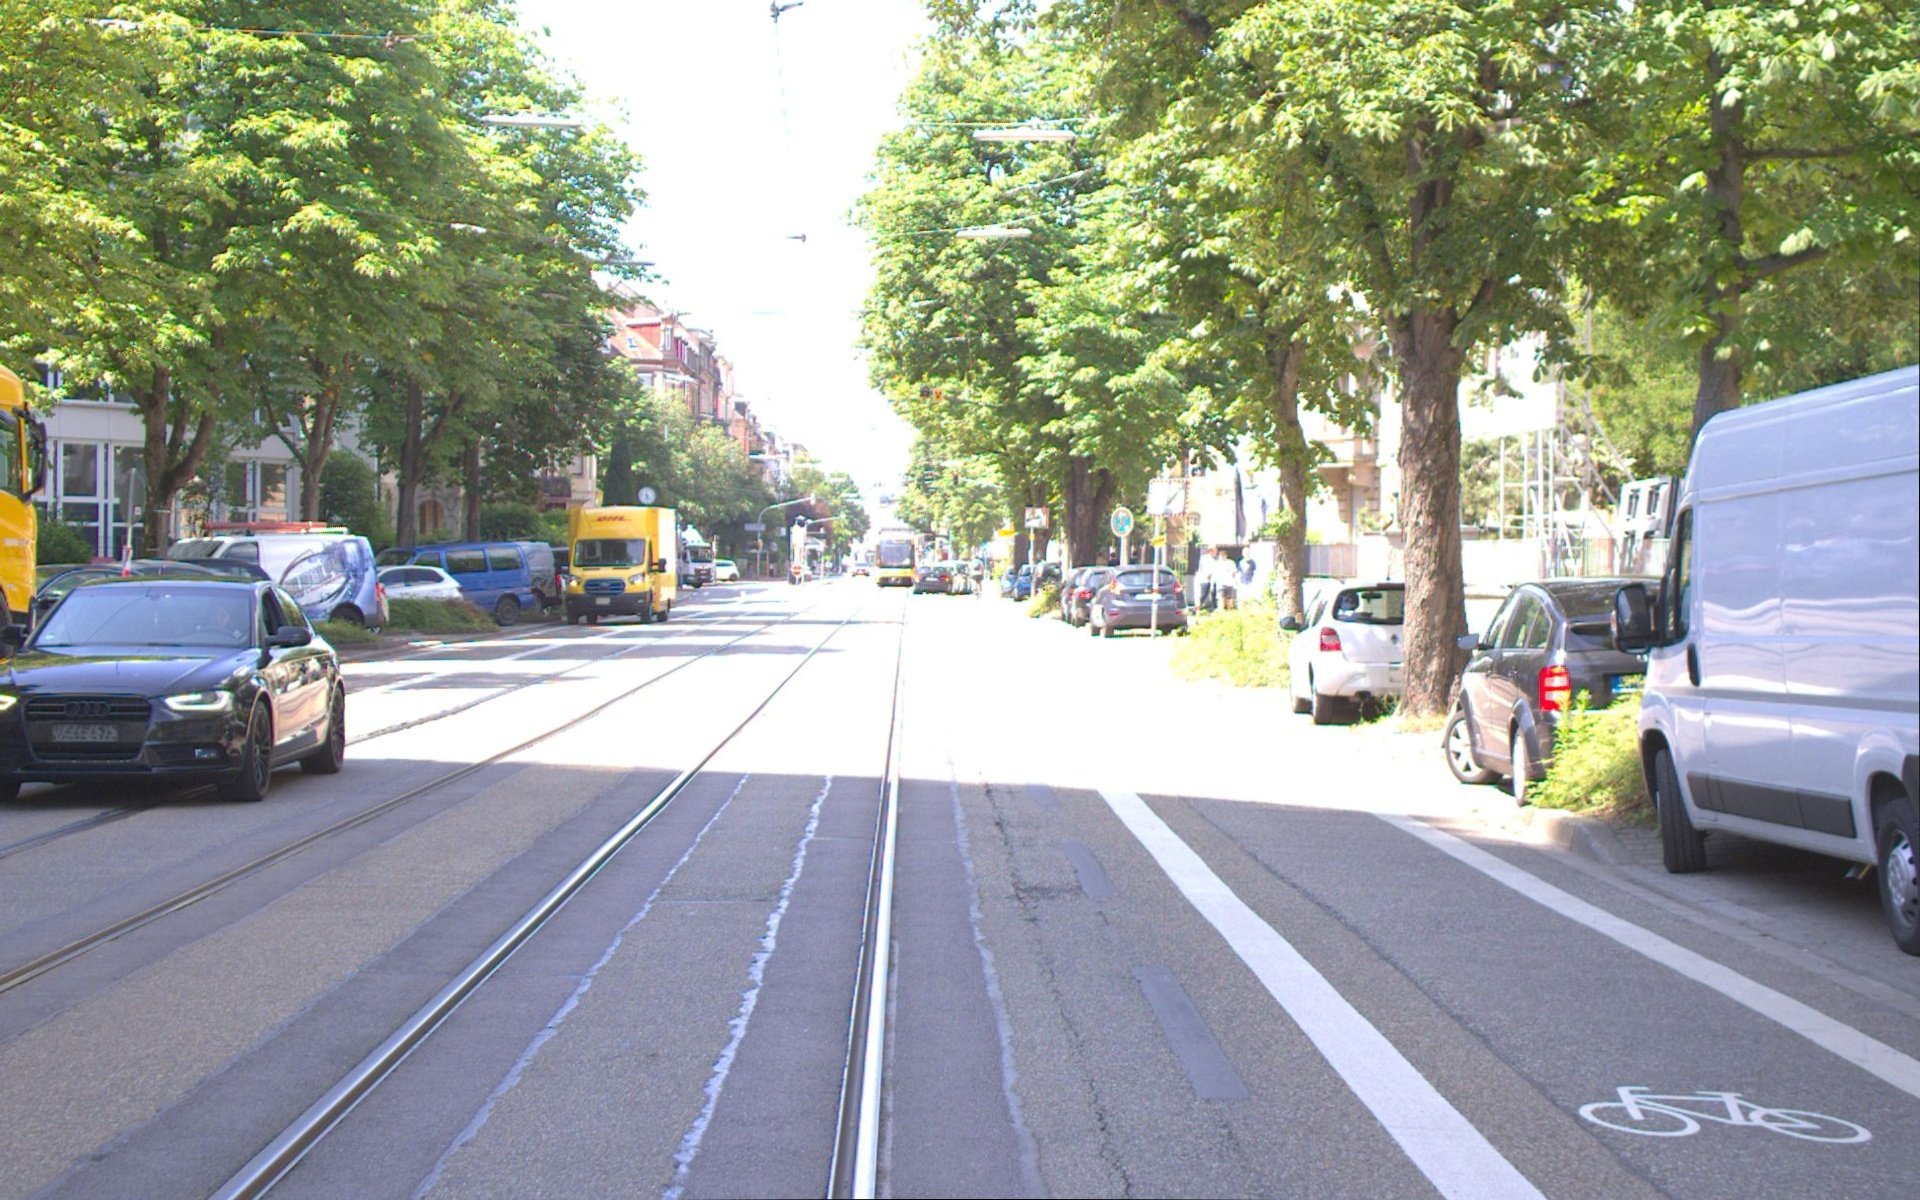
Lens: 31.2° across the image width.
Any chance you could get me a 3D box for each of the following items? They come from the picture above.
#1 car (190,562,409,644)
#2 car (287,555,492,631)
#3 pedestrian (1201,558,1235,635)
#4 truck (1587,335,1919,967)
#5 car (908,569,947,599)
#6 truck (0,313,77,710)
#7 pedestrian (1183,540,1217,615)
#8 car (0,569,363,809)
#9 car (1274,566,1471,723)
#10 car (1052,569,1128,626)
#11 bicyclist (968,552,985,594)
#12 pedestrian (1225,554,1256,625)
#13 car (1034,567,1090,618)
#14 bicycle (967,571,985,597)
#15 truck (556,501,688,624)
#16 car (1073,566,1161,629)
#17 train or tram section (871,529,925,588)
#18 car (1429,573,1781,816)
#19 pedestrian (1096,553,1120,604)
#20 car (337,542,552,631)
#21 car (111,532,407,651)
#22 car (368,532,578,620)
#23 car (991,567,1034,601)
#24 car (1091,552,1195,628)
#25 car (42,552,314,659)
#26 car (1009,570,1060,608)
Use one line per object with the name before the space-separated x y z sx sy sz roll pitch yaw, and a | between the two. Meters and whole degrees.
car | -12.458 0.044 64.987 1.761 1.462 3.700 -1 0 44
car | -11.986 -0.154 72.429 1.761 1.428 3.990 -2 0 42
pedestrian | 6.271 -0.093 83.550 0.724 1.853 0.576 0 0 16
truck | 4.638 0.157 16.474 2.014 2.480 5.956 0 1 -1
car | -1.472 -0.717 156.193 1.781 1.341 3.416 0 1 0
truck | -11.518 -0.909 29.525 2.717 3.828 10.957 2 0 13
pedestrian | 5.936 -0.563 85.039 0.809 1.853 0.576 0 0 8
car | -5.168 0.515 22.634 1.774 1.392 4.287 0 1 -1
car | 4.293 0.428 36.218 1.644 1.529 3.785 0 1 1
car | 3.337 -0.068 88.935 1.710 1.418 4.244 0 0 -1
bicyclist | 0.651 -1.062 135.693 0.622 1.610 0.865 2 -1 -2
pedestrian | 6.920 -0.254 84.802 0.619 1.731 0.477 -1 0 18
car | 3.283 -0.237 110.944 1.592 1.611 3.908 0 0 -1
bicycle | 0.635 -0.613 135.744 0.639 0.966 1.781 2 -1 -2
truck | -8.195 -0.938 84.017 2.360 2.843 7.378 -1 1 1
car | 3.732 -0.065 82.321 1.876 1.450 4.528 0 0 0
train or tram section | -3.643 -2.464 205.119 3.035 3.427 11.970 0 1 0
car | 4.440 0.593 24.190 1.644 1.529 3.947 0 1 -1
pedestrian | 5.378 -0.783 124.714 0.808 1.853 0.623 0 -1 -2
car | -11.808 -0.325 78.991 1.846 1.949 4.719 0 1 44
car | -11.988 -0.163 59.041 1.920 1.928 4.745 -1 0 42
car | -12.036 -0.606 85.175 4.749 2.055 2.026 -2 1 -39
car | 2.253 -0.675 148.505 1.710 1.418 4.310 0 0 -1
car | 3.679 -0.206 69.792 1.639 1.480 3.873 0 0 -4
car | -11.870 0.065 52.310 1.691 1.538 3.700 0 1 44
car | 2.805 -0.426 130.172 1.710 1.418 4.310 0 0 -1
